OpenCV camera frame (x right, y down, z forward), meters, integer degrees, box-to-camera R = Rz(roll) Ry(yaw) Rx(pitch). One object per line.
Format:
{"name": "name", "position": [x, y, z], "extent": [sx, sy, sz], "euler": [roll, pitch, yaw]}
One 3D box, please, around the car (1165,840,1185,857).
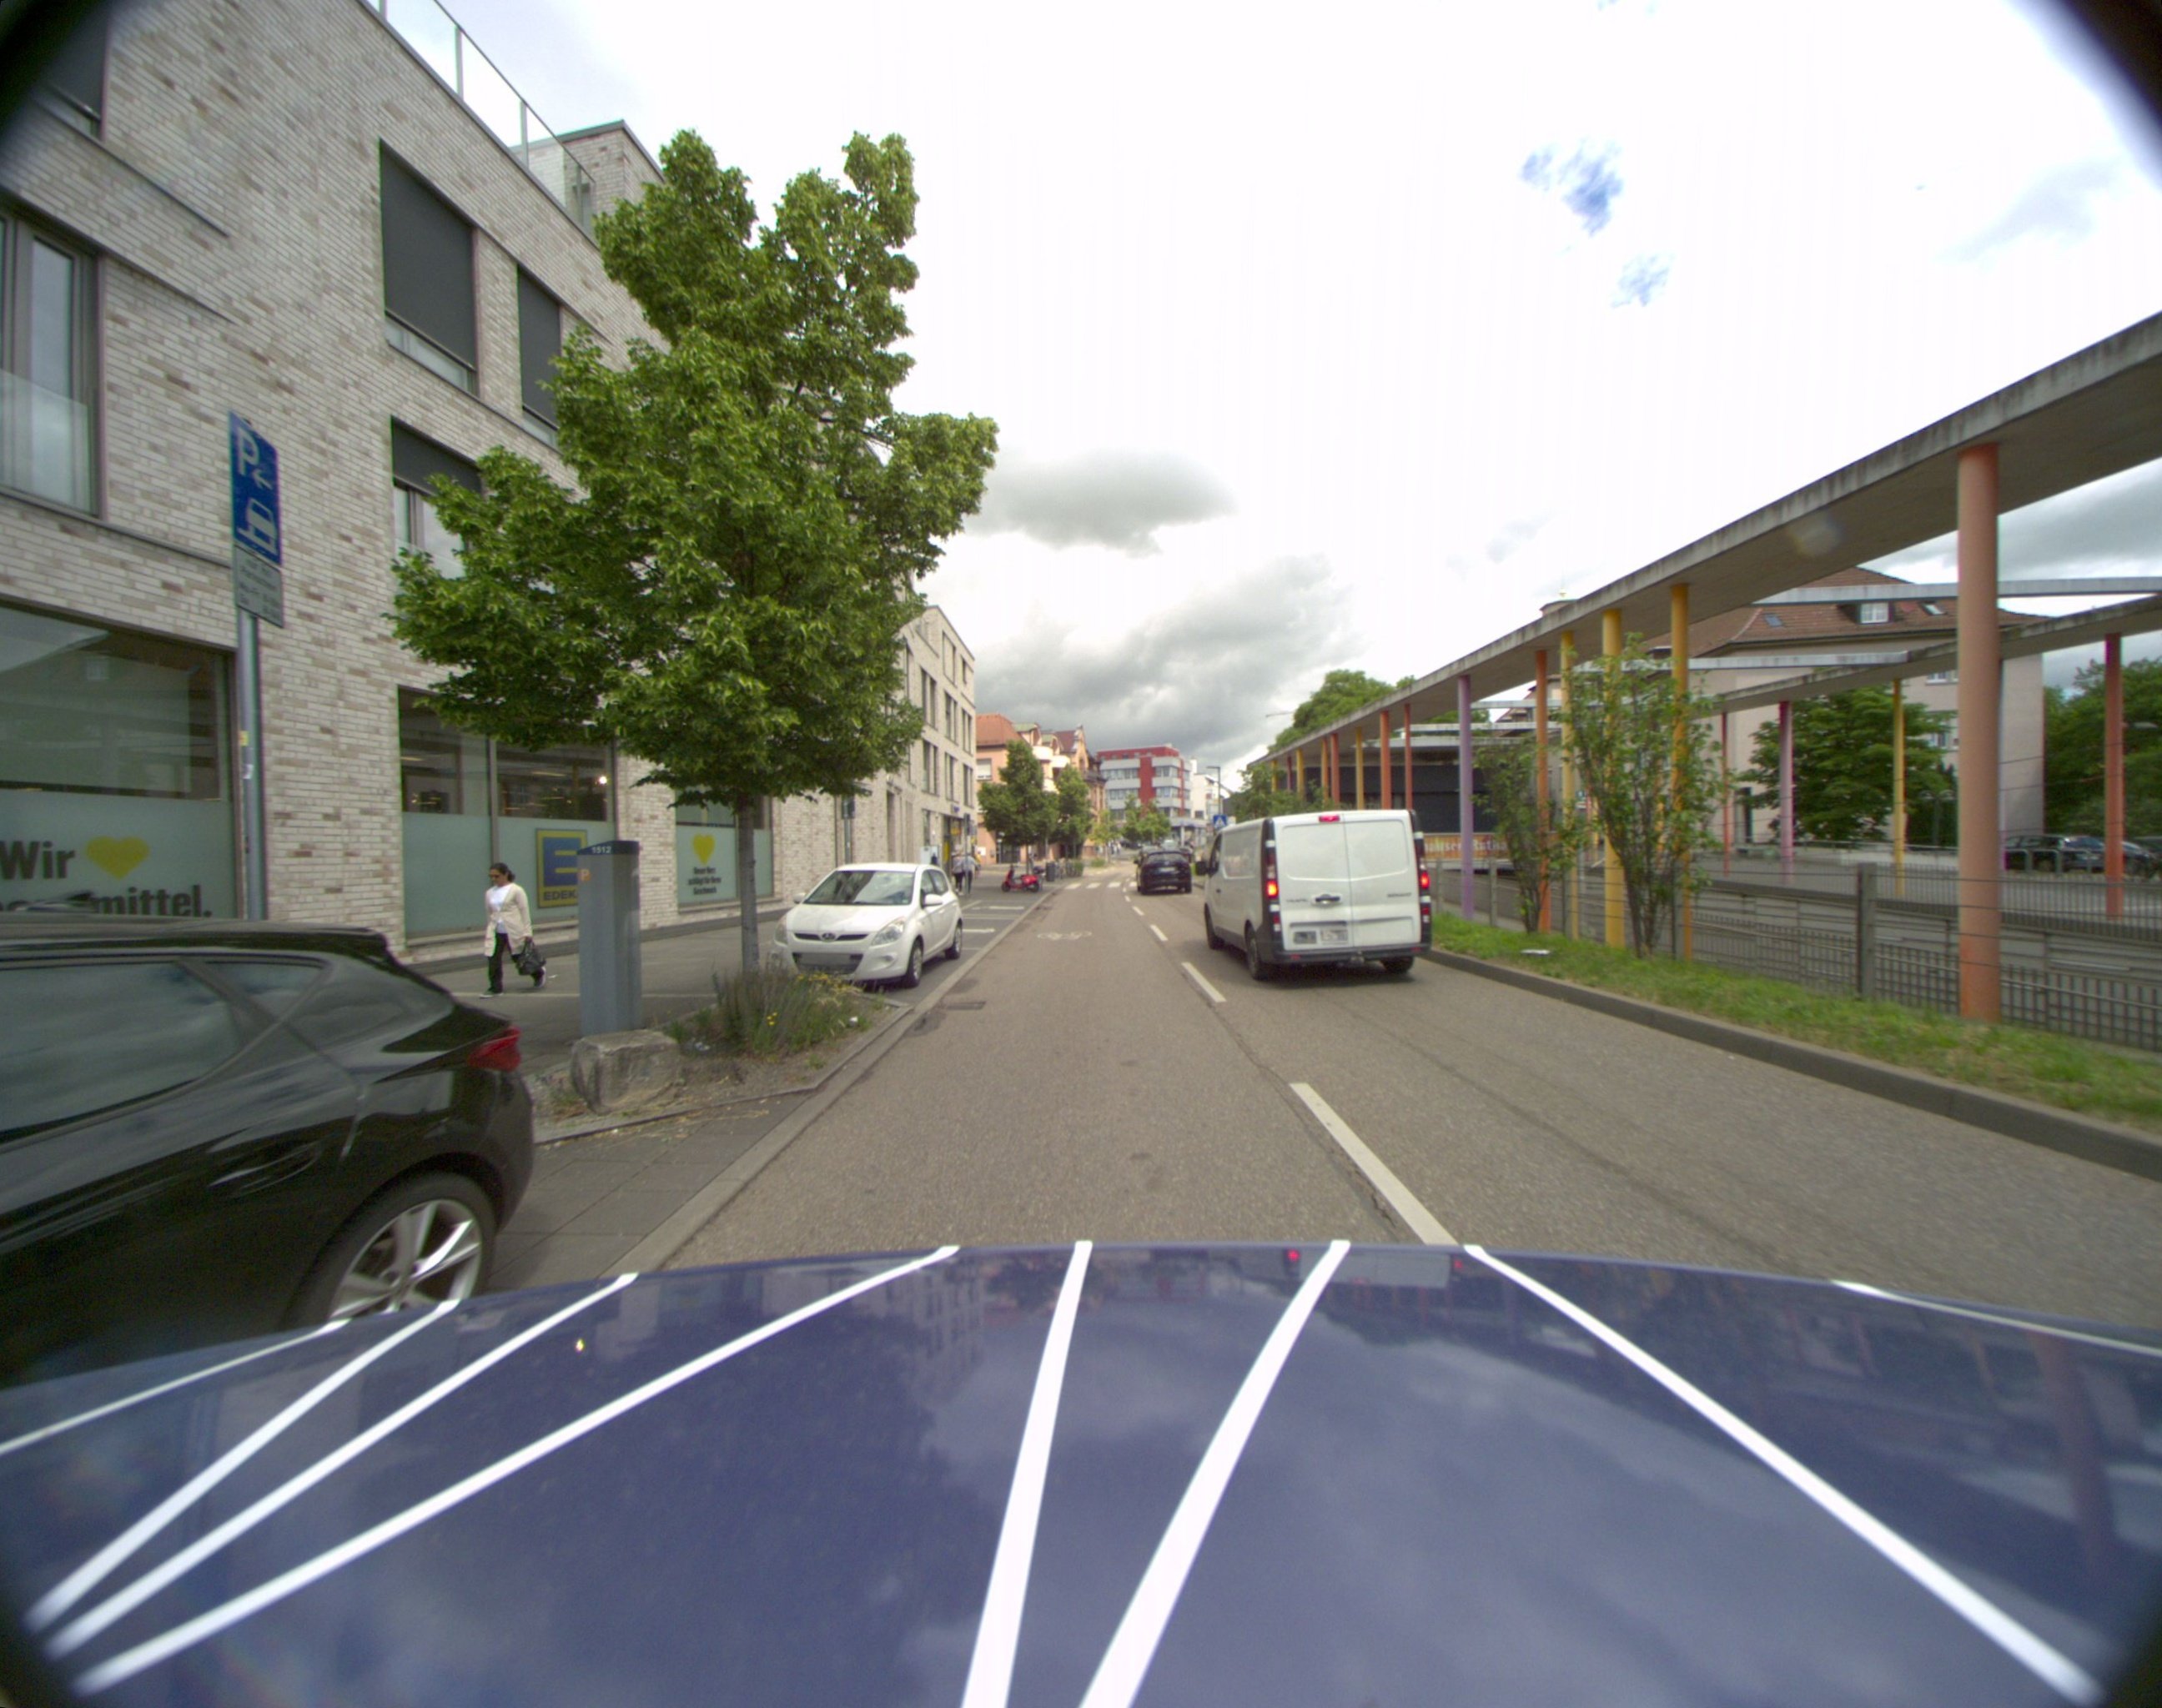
{"name": "car", "position": [9.940, -0.582, 80.388], "extent": [1.802, 1.572, 4.001], "euler": [-2, 2, 11]}

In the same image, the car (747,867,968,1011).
{"name": "car", "position": [-2.747, 0.966, 10.257], "extent": [1.696, 1.475, 3.798], "euler": [0, 1, 3]}

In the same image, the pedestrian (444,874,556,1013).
{"name": "pedestrian", "position": [-6.556, 0.975, 8.607], "extent": [0.608, 1.464, 0.791], "euler": [0, 1, 9]}

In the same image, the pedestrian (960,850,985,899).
{"name": "pedestrian", "position": [-3.987, 0.748, 27.978], "extent": [0.622, 1.757, 0.738], "euler": [0, 2, 15]}

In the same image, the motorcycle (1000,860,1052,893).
{"name": "motorcycle", "position": [-2.270, 0.916, 31.426], "extent": [2.052, 1.259, 0.673], "euler": [1, 2, 19]}

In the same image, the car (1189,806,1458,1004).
{"name": "car", "position": [2.785, 0.483, 10.127], "extent": [2.009, 1.906, 5.064], "euler": [-2, 1, 1]}

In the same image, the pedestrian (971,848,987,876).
{"name": "pedestrian", "position": [-6.061, 0.463, 45.315], "extent": [0.658, 1.683, 0.633], "euler": [1, 2, 42]}

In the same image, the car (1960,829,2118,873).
{"name": "car", "position": [39.866, -0.105, 31.809], "extent": [1.902, 1.660, 4.003], "euler": [-2, 0, 10]}

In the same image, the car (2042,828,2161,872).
{"name": "car", "position": [42.157, -0.181, 30.690], "extent": [1.902, 1.660, 4.003], "euler": [-2, 0, 10]}

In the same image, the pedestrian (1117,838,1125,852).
{"name": "pedestrian", "position": [4.755, -1.089, 89.880], "extent": [0.696, 1.649, 0.741], "euler": [-1, 3, 26]}

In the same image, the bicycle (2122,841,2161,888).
{"name": "bicycle", "position": [30.387, 0.299, 21.088], "extent": [0.532, 1.262, 2.061], "euler": [-2, 3, 14]}

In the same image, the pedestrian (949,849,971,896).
{"name": "pedestrian", "position": [-4.621, 0.699, 29.038], "extent": [0.757, 1.757, 0.734], "euler": [-1, 2, -5]}

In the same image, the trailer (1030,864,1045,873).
{"name": "trailer", "position": [-2.684, 0.905, 46.601], "extent": [0.721, 0.525, 0.812], "euler": [-1, 2, 11]}

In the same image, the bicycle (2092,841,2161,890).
{"name": "bicycle", "position": [29.703, 0.297, 21.235], "extent": [0.532, 1.262, 2.061], "euler": [-2, 3, 14]}

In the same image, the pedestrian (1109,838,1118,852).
{"name": "pedestrian", "position": [3.874, -1.041, 89.977], "extent": [0.738, 1.631, 0.677], "euler": [0, 4, 40]}

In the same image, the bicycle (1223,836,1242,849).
{"name": "bicycle", "position": [13.121, -1.009, 65.865], "extent": [1.548, 1.121, 0.534], "euler": [0, 2, 15]}

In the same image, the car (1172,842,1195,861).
{"name": "car", "position": [8.723, -0.217, 65.133], "extent": [1.776, 1.455, 4.235], "euler": [-2, 1, 6]}

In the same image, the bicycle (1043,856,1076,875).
{"name": "bicycle", "position": [-1.285, 0.681, 45.271], "extent": [1.826, 1.125, 0.756], "euler": [0, 2, 8]}

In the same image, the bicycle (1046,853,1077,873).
{"name": "bicycle", "position": [-1.178, 0.548, 46.199], "extent": [1.826, 1.194, 0.756], "euler": [0, 2, 8]}

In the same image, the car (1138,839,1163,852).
{"name": "car", "position": [7.808, -0.962, 85.104], "extent": [1.996, 1.406, 4.740], "euler": [0, 2, 15]}

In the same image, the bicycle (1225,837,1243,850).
{"name": "bicycle", "position": [13.624, -0.960, 67.720], "extent": [1.548, 1.121, 0.534], "euler": [0, 2, 15]}

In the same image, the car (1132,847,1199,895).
{"name": "car", "position": [3.117, 0.580, 28.849], "extent": [1.924, 1.595, 4.625], "euler": [-2, 1, -1]}

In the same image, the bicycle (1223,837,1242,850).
{"name": "bicycle", "position": [13.338, -0.926, 66.903], "extent": [1.548, 1.121, 0.534], "euler": [0, 2, 15]}

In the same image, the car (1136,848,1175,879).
{"name": "car", "position": [3.936, 0.478, 40.767], "extent": [1.816, 1.460, 3.907], "euler": [-2, 1, 2]}

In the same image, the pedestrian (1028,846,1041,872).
{"name": "pedestrian", "position": [-3.139, 0.363, 51.612], "extent": [0.659, 1.732, 1.018], "euler": [0, 2, 7]}

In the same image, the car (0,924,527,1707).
{"name": "car", "position": [-2.842, 0.993, 0.565], "extent": [1.696, 1.452, 4.147], "euler": [0, 1, 3]}
